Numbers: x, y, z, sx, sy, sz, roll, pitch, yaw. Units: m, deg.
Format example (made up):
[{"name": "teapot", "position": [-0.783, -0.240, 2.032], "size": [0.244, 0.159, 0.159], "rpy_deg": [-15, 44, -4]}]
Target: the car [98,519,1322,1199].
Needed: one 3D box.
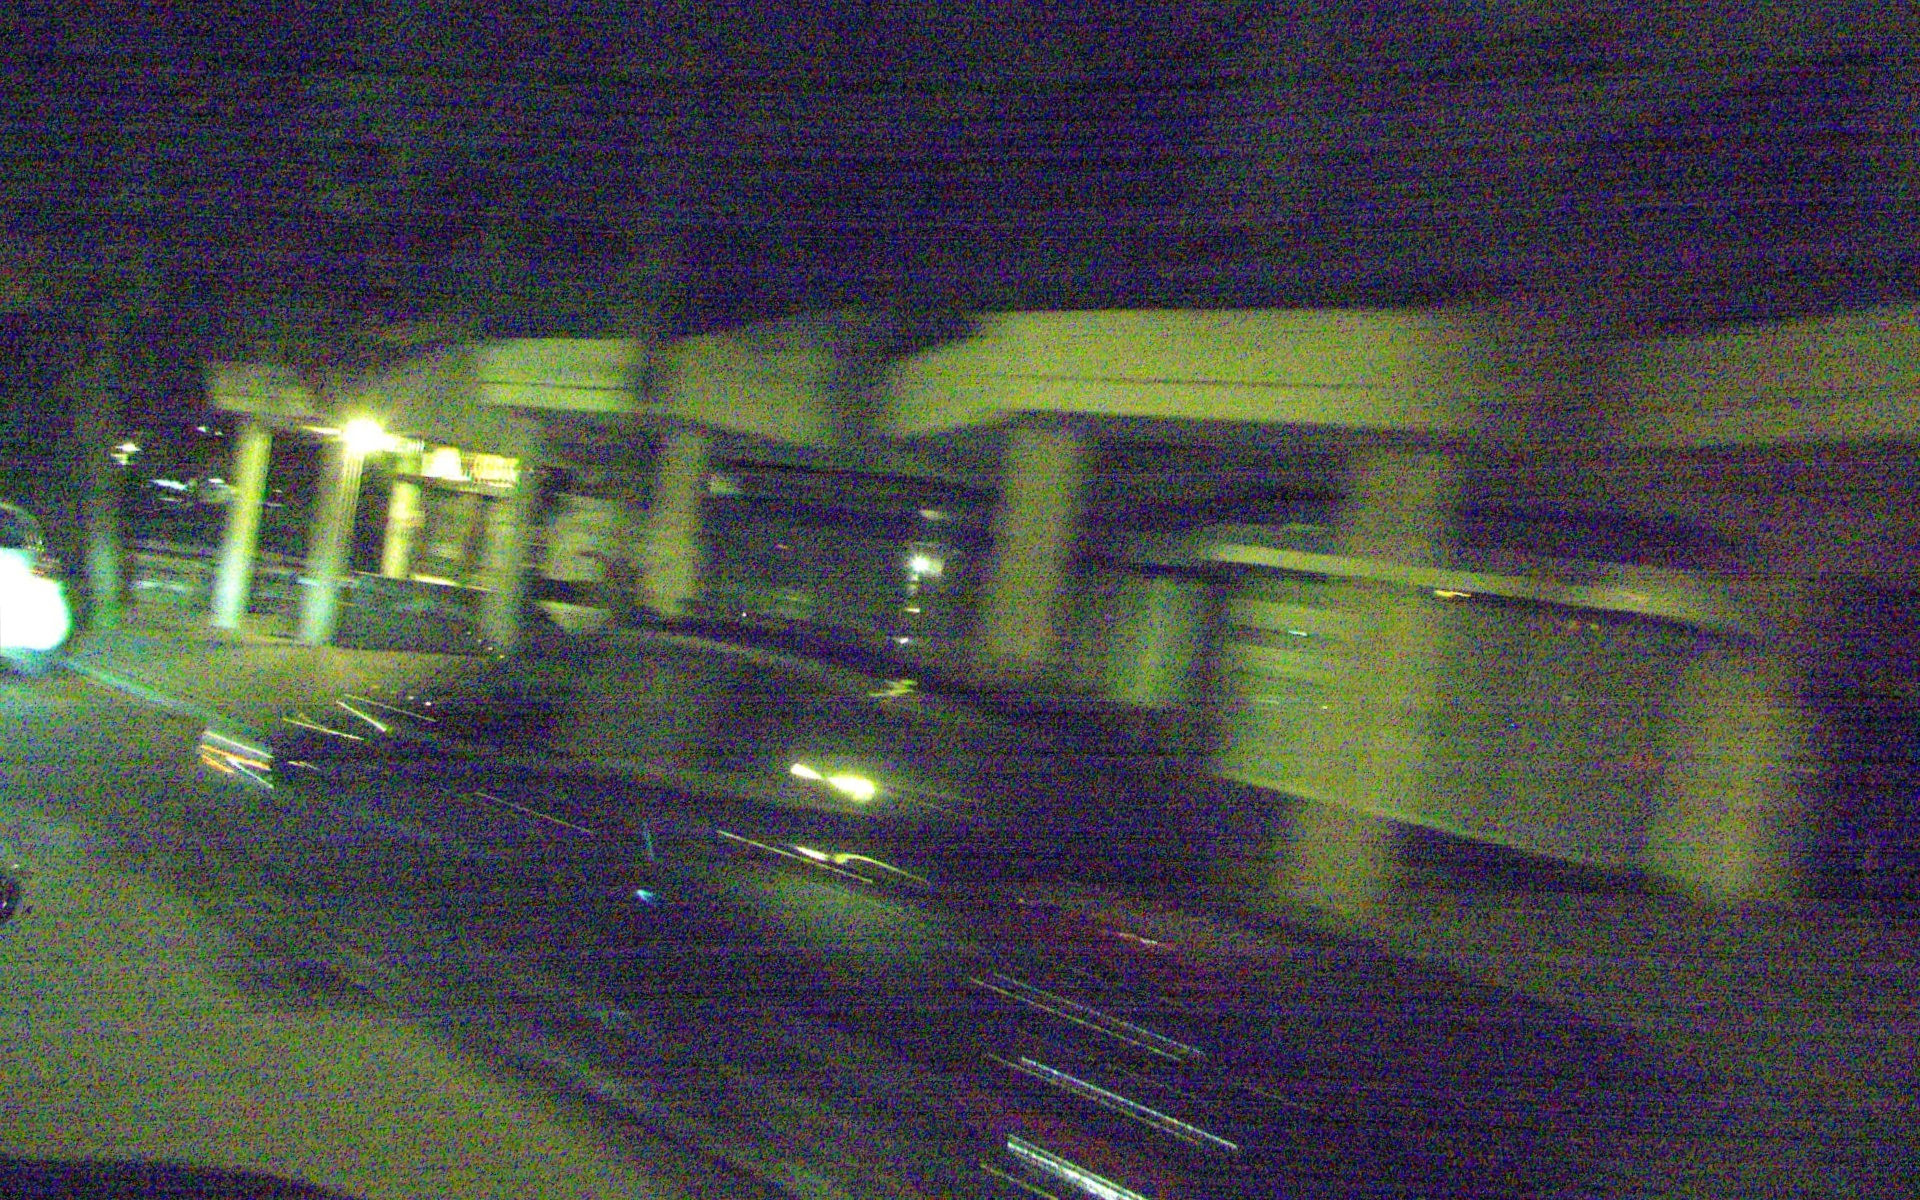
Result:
[{"name": "car", "position": [-1.011, 0.727, 3.516], "size": [3.932, 1.463, 1.682], "rpy_deg": [7, -3, 30]}]

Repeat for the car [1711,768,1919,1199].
[{"name": "car", "position": [3.196, 1.257, 1.194], "size": [3.459, 1.415, 1.603], "rpy_deg": [7, -2, 32]}]

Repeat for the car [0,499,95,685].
[{"name": "car", "position": [-9.504, -0.285, 8.897], "size": [3.713, 1.483, 1.642], "rpy_deg": [7, -3, 32]}]
